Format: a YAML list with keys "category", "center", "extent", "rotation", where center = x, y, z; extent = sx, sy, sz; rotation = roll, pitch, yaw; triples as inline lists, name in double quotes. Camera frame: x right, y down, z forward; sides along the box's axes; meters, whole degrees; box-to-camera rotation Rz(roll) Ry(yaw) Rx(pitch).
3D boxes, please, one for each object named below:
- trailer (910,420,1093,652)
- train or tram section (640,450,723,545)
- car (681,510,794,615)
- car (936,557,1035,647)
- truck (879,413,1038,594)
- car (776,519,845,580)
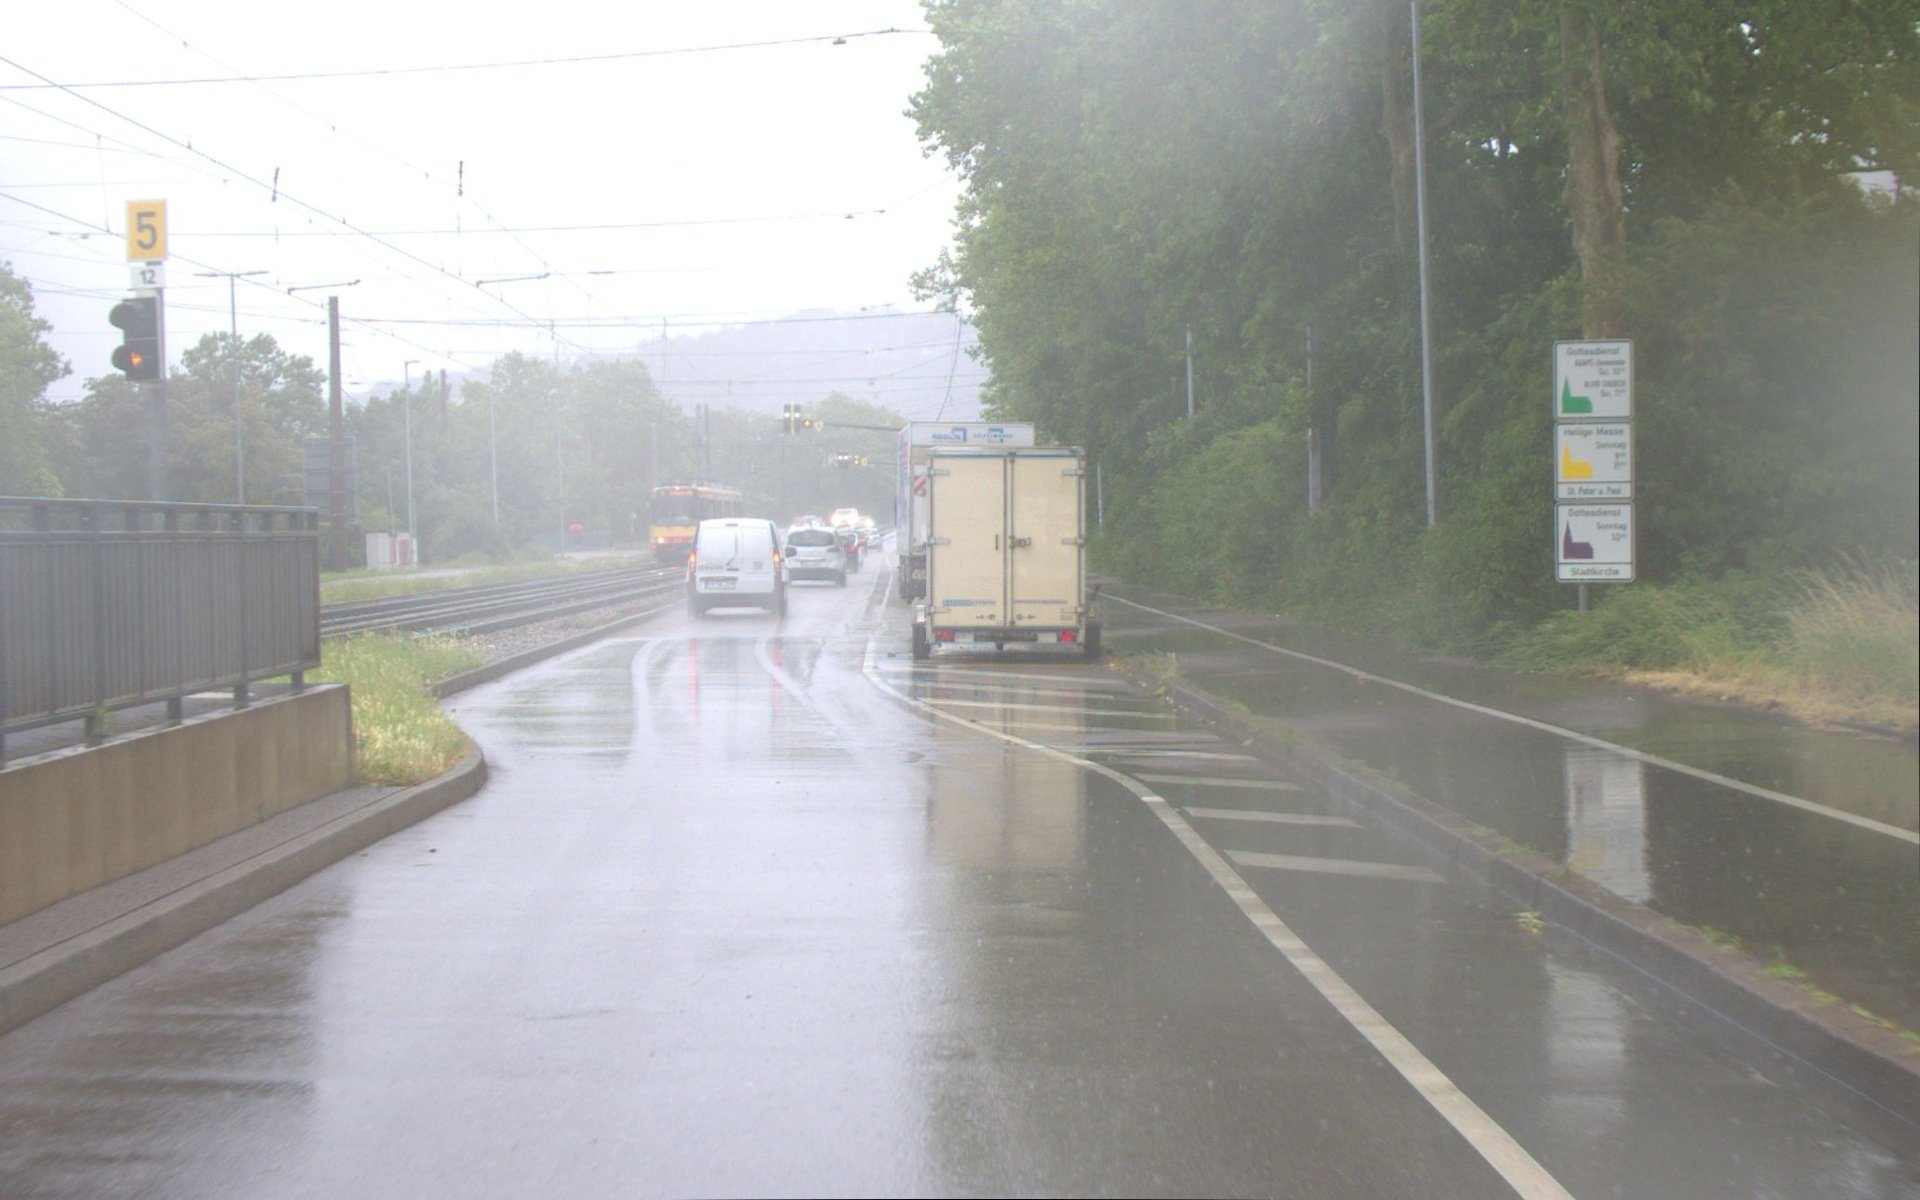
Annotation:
- category: "trailer"
  center: [0.572, -0.792, 43.700]
  extent: [2.166, 2.748, 5.676]
  rotation: [0, 1, 2]
- category: "train or tram section"
  center: [-12.616, -4.602, 156.691]
  extent: [2.806, 4.135, 13.020]
  rotation: [0, 1, -1]
- category: "car"
  center: [-4.119, -0.702, 63.154]
  extent: [1.993, 1.842, 4.001]
  rotation: [-1, 1, -5]
- category: "car"
  center: [0.484, 0.008, 61.835]
  extent: [1.713, 1.524, 4.000]
  rotation: [0, 1, 1]
- category: "truck"
  center: [-0.150, -2.017, 75.028]
  extent: [2.775, 3.691, 9.854]
  rotation: [0, 1, -4]
- category: "car"
  center: [-4.099, -1.372, 94.707]
  extent: [1.786, 1.637, 3.968]
  rotation: [0, 1, -1]
